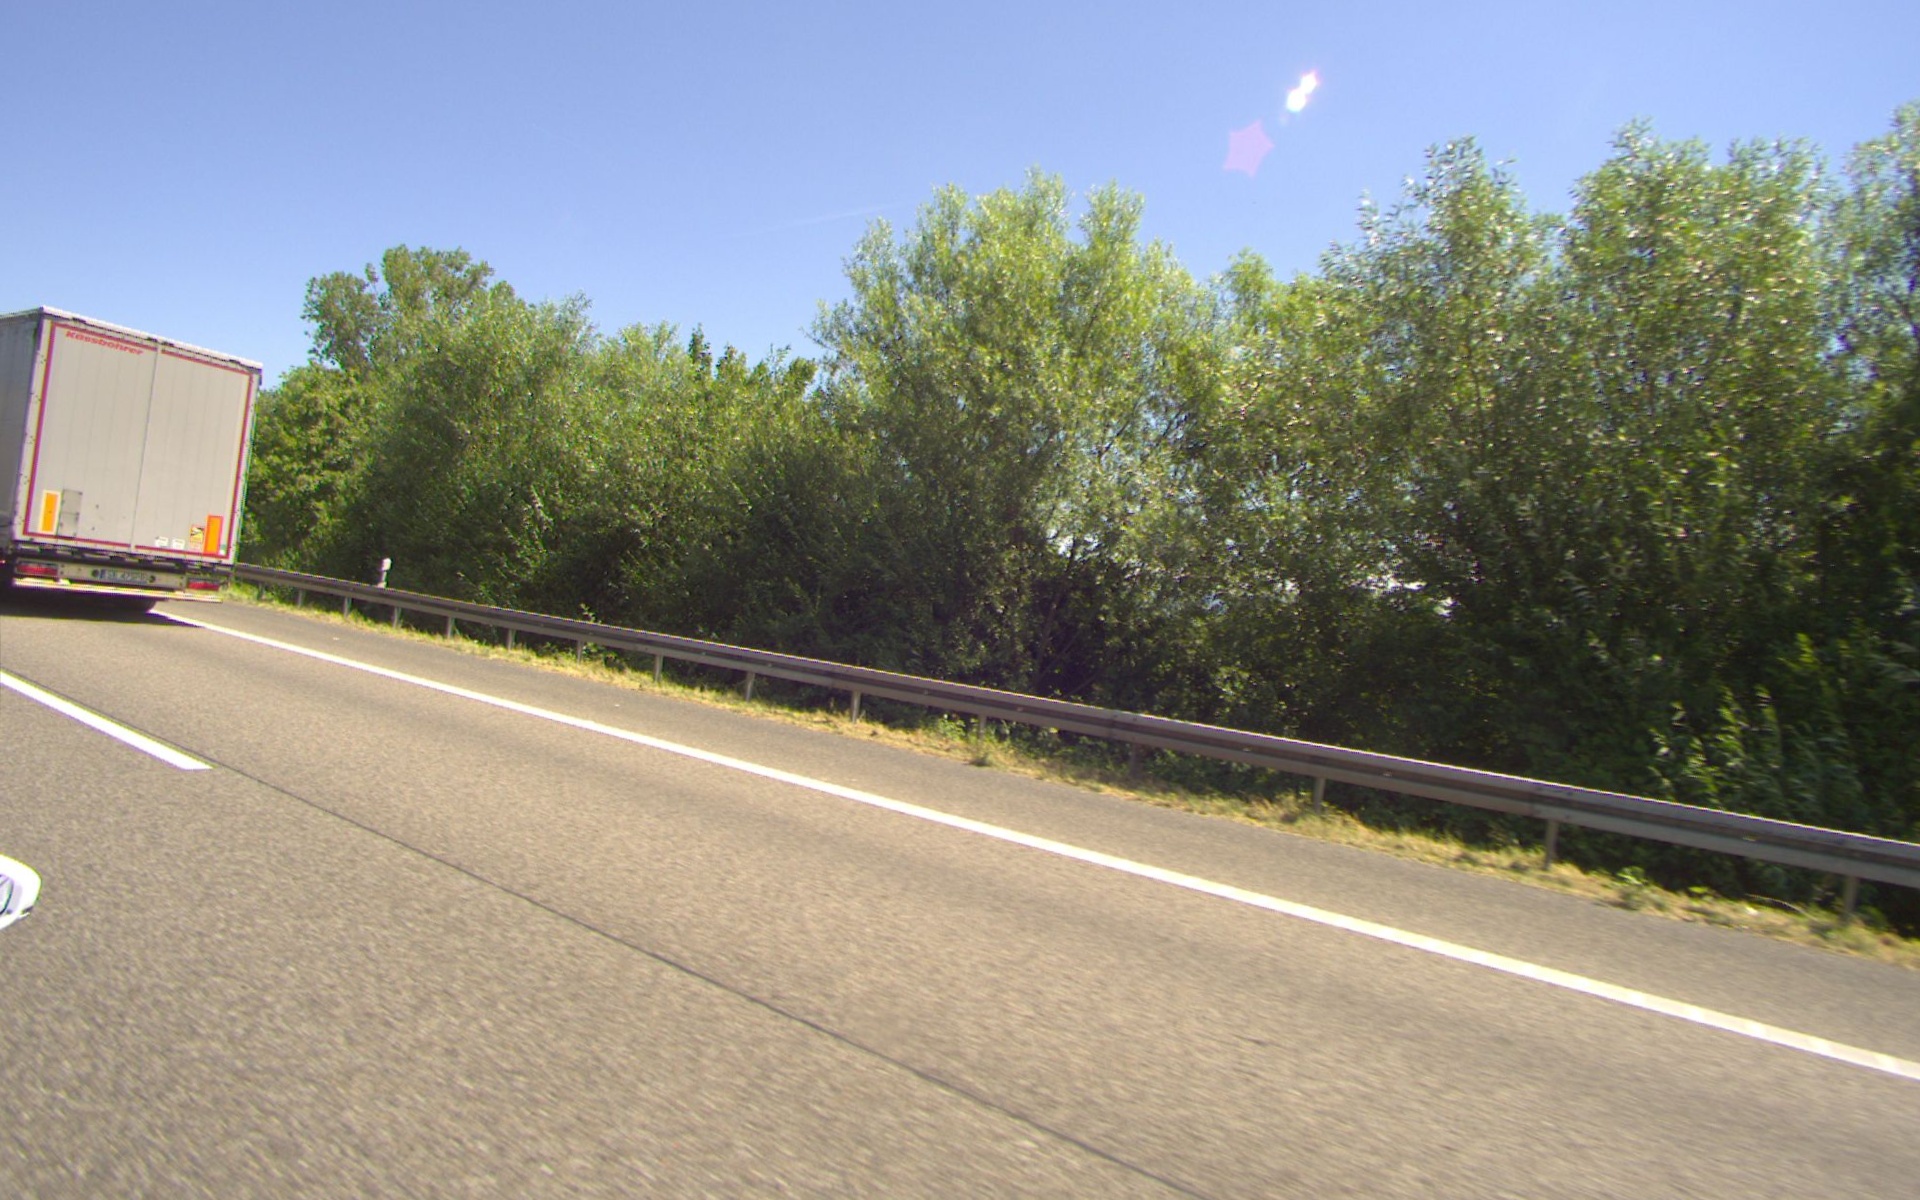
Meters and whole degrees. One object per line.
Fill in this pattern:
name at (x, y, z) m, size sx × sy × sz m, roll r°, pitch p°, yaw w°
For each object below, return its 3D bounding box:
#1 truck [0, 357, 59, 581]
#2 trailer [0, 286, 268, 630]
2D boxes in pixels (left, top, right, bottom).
truck at (-22.167, -2.938, 21.176) m, size 7.712 × 4.269 × 2.692 m, roll 6°, pitch 1°, yaw 33°
trailer at (-16.652, -2.344, 17.494) m, size 12.998 × 4.269 × 2.704 m, roll 6°, pitch 1°, yaw 33°
